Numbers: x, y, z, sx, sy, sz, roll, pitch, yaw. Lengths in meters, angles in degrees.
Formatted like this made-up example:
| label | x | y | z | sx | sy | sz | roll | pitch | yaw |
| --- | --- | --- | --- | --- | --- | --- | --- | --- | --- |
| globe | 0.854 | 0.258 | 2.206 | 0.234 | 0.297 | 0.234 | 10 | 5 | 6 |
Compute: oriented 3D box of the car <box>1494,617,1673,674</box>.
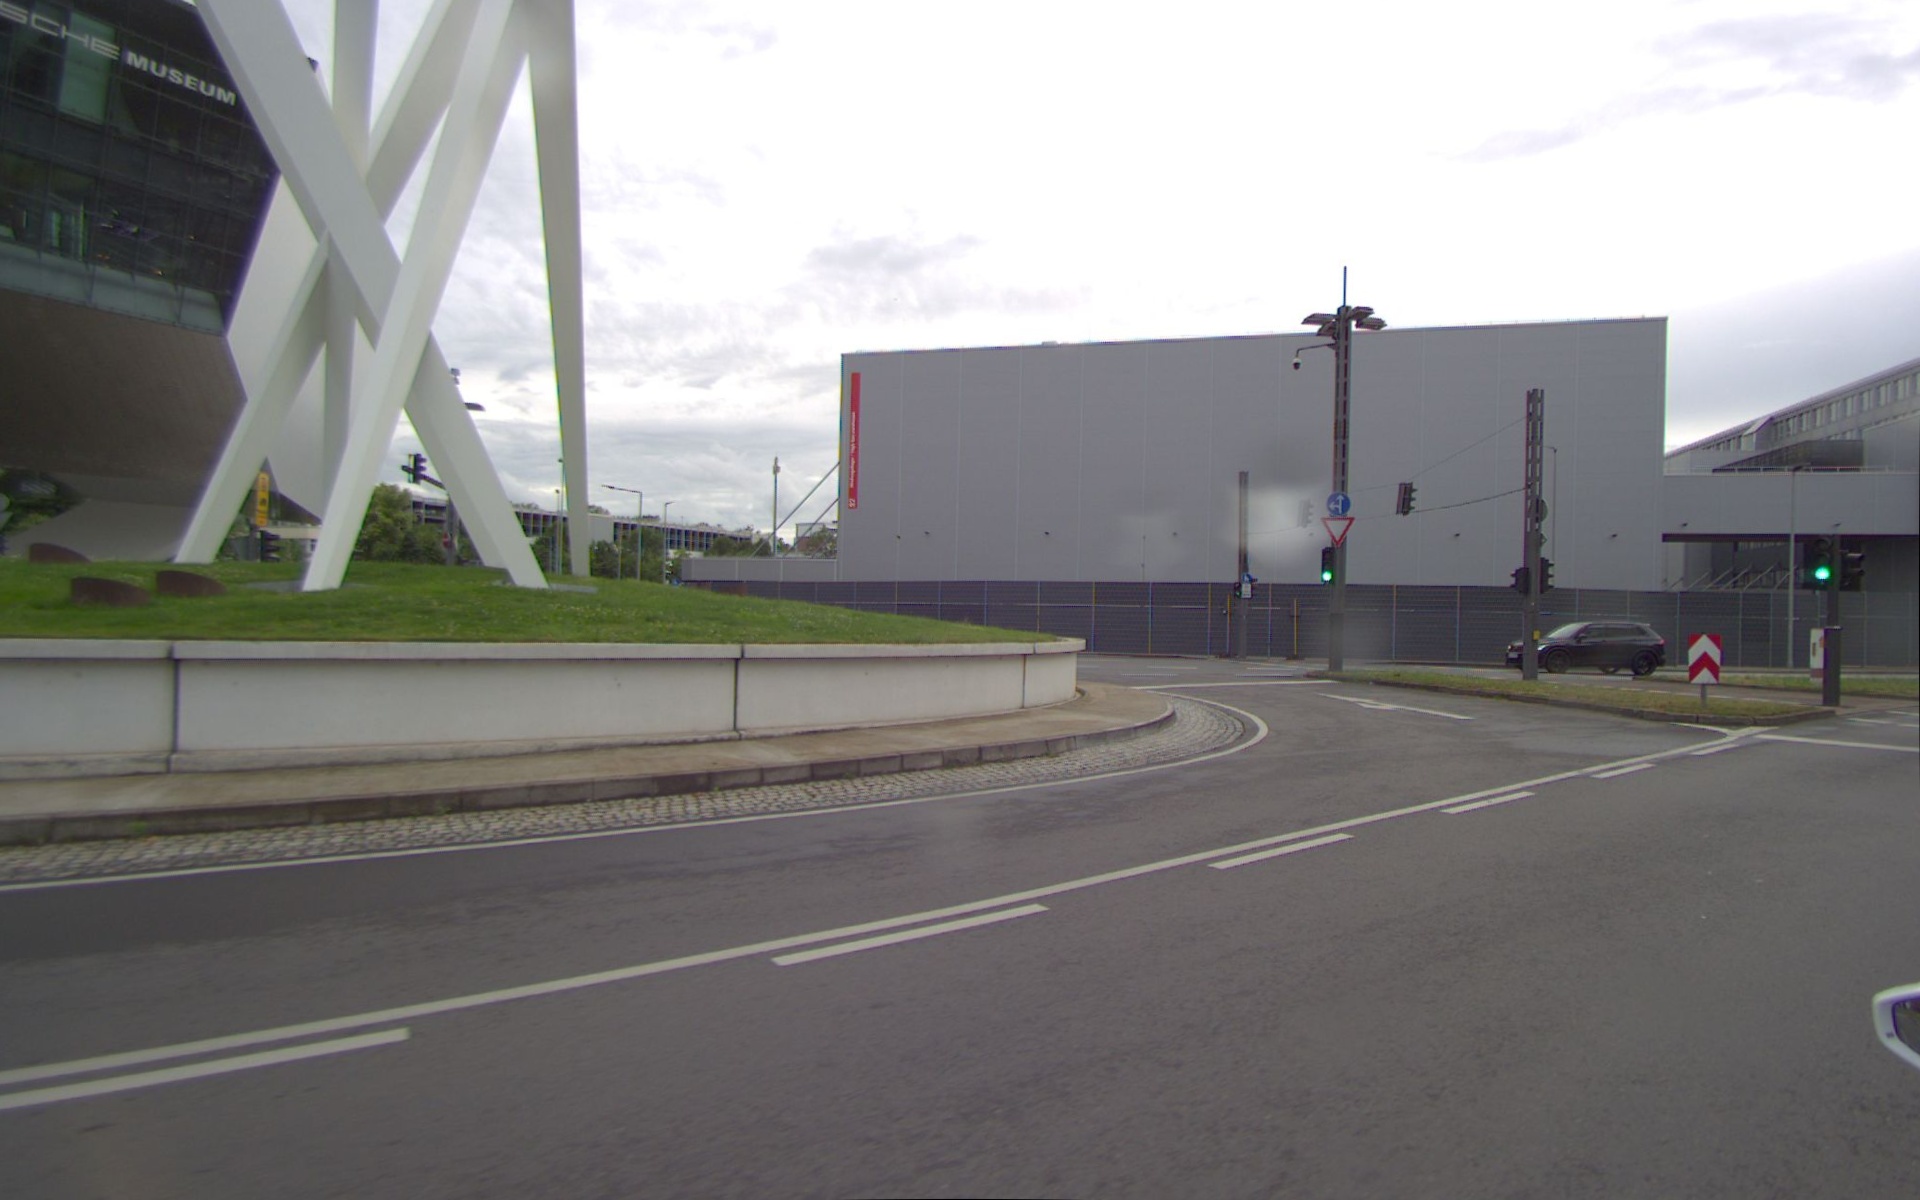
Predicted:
| label | x | y | z | sx | sy | sz | roll | pitch | yaw |
| --- | --- | --- | --- | --- | --- | --- | --- | --- | --- |
| car | 19.403 | 1.404 | 31.383 | 4.476 | 1.609 | 1.788 | 1 | 0 | -1 |
